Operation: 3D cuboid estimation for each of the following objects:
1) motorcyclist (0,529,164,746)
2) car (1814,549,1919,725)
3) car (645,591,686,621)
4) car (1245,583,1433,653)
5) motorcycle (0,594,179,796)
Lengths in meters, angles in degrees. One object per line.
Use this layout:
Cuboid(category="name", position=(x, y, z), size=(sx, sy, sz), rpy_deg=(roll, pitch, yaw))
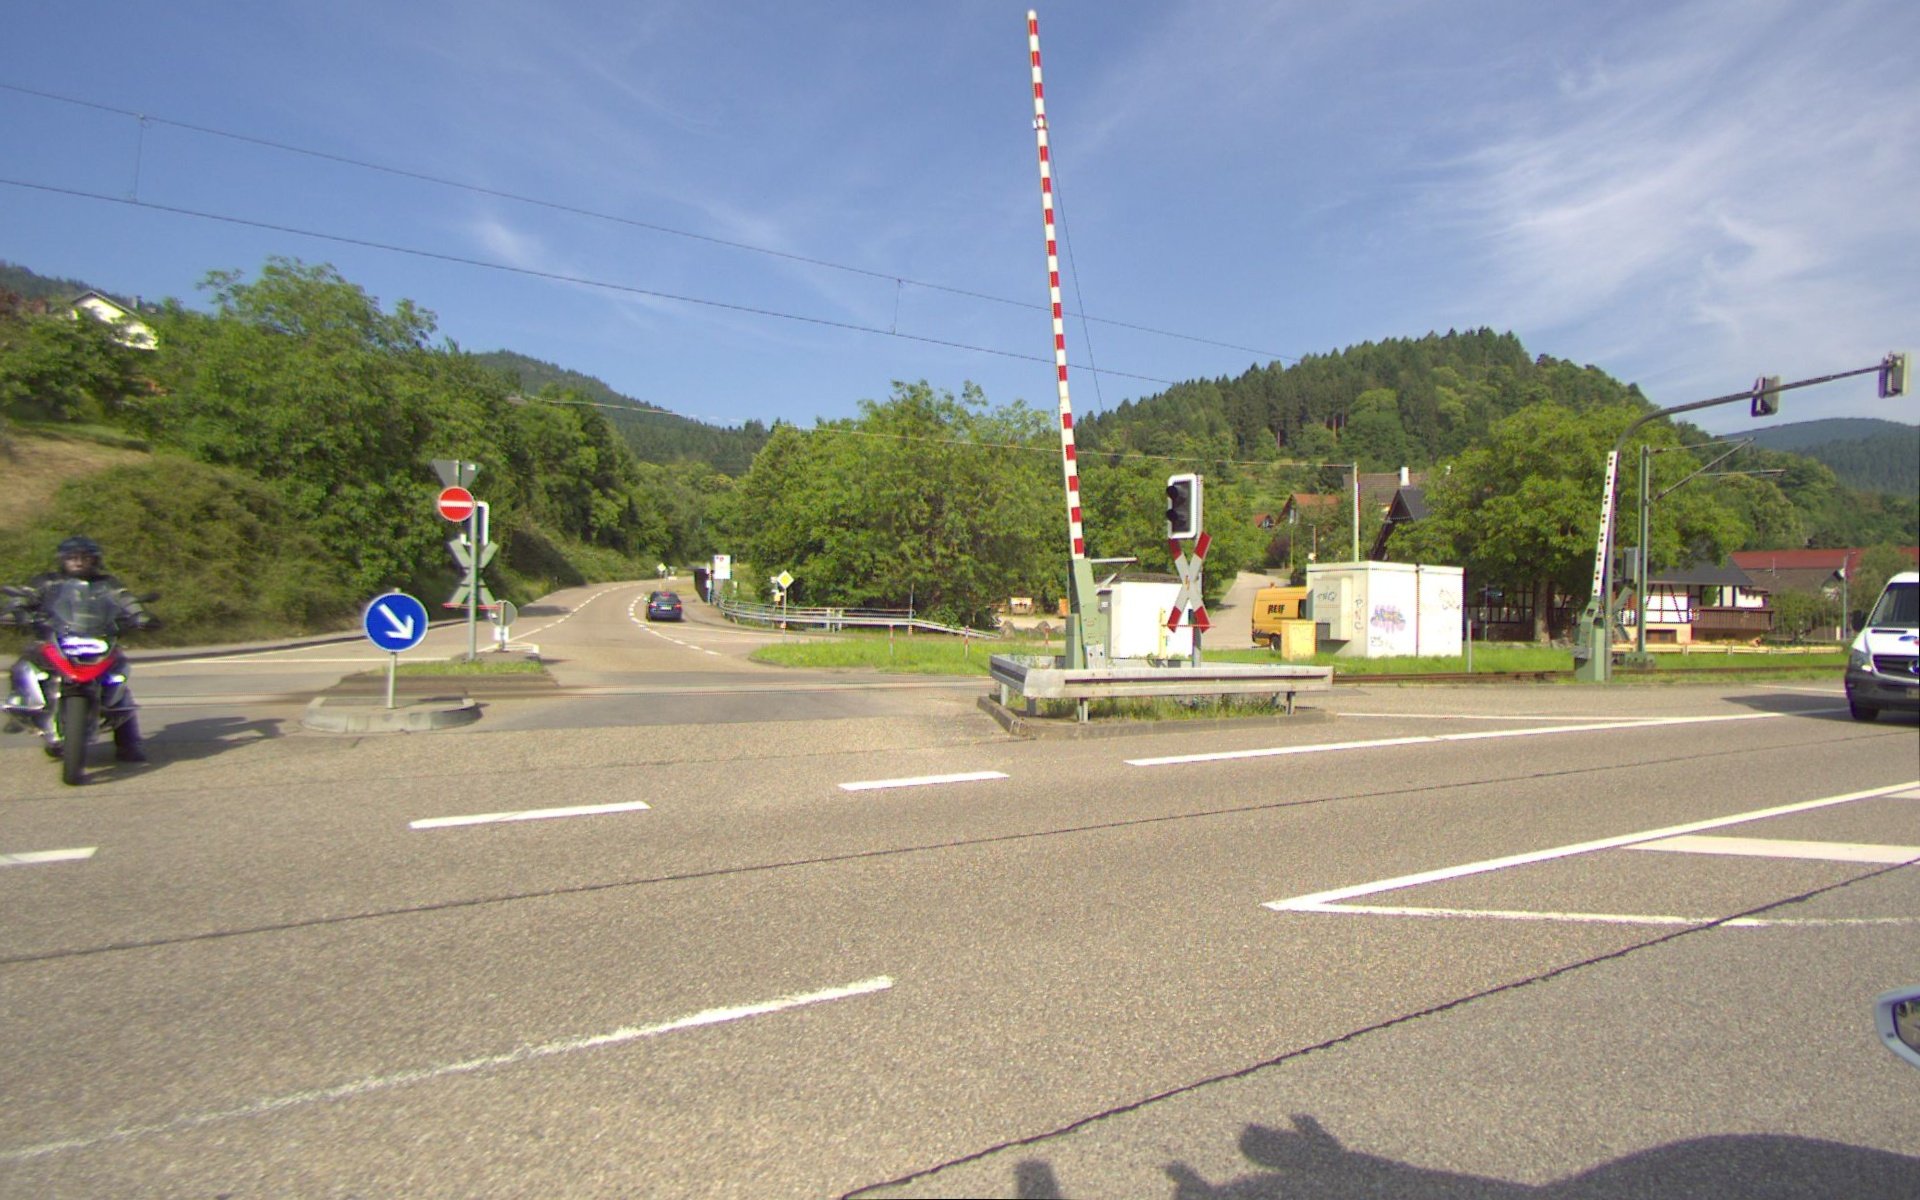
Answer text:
Cuboid(category="motorcyclist", position=(-7.023, 0.260, 7.960), size=(0.985, 1.565, 1.170), rpy_deg=(1, 2, -45))
Cuboid(category="car", position=(15.574, 0.554, 15.456), size=(5.167, 2.469, 2.109), rpy_deg=(1, 1, -31))
Cuboid(category="car", position=(-16.088, 0.333, 54.722), size=(1.920, 1.550, 3.982), rpy_deg=(1, -1, -20))
Cuboid(category="car", position=(14.561, 0.643, 39.259), size=(2.905, 2.489, 7.052), rpy_deg=(1, 0, -21))
Cuboid(category="motorcycle", position=(-6.979, 0.632, 7.910), size=(0.999, 1.285, 2.558), rpy_deg=(1, 1, -45))
